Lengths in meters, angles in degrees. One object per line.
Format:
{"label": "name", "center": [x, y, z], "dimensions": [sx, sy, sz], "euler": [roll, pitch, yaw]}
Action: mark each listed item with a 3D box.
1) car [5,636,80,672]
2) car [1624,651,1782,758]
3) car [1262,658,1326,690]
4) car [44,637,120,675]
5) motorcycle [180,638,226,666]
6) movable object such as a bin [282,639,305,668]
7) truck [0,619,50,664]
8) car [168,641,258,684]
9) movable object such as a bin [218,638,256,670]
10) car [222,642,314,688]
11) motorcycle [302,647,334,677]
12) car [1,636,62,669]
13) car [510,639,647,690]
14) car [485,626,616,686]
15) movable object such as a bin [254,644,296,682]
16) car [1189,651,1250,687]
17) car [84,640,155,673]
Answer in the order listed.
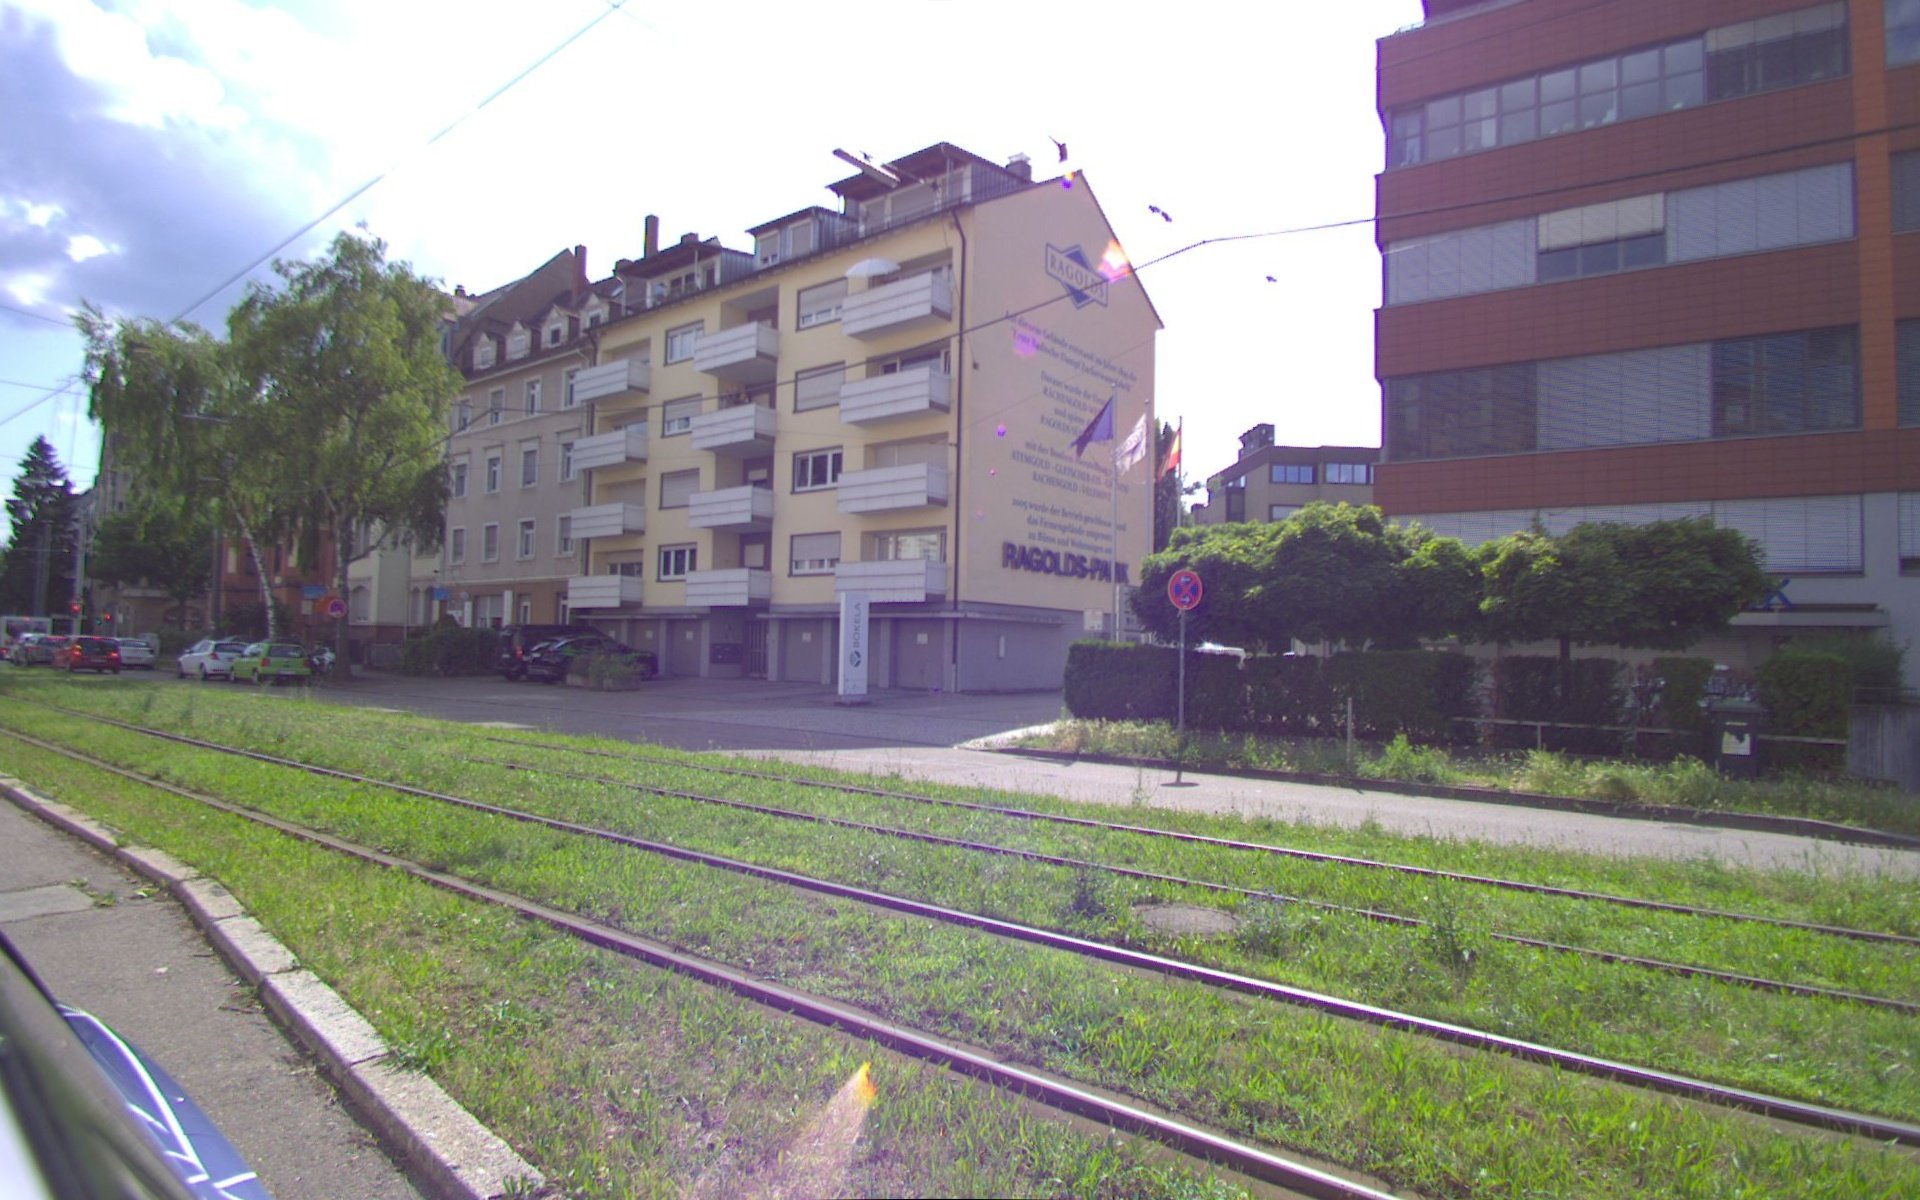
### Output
{"label": "car", "center": [-40.041, 2.336, 44.115], "dimensions": [4.508, 1.366, 1.737], "euler": [-1, -6, 40]}
{"label": "car", "center": [12.913, 1.745, 17.740], "dimensions": [1.995, 1.608, 3.952], "euler": [-1, -4, 35]}
{"label": "car", "center": [18.633, 4.102, 56.672], "dimensions": [1.743, 1.708, 4.007], "euler": [2, -4, -9]}
{"label": "car", "center": [-34.507, 2.203, 39.750], "dimensions": [3.688, 1.397, 1.563], "euler": [-1, -5, 39]}
{"label": "motorcycle", "center": [-34.660, 2.391, 46.335], "dimensions": [2.287, 1.252, 0.893], "euler": [-1, -4, 33]}
{"label": "movable object such as a bin", "center": [-31.835, 2.553, 48.351], "dimensions": [0.697, 1.372, 0.667], "euler": [-1, -4, 35]}
{"label": "truck", "center": [-51.494, 2.262, 55.088], "dimensions": [6.611, 2.231, 2.161], "euler": [-2, -5, 43]}
{"label": "car", "center": [-28.081, 2.334, 38.024], "dimensions": [4.221, 1.489, 1.628], "euler": [-1, -6, 39]}
{"label": "movable object such as a bin", "center": [-32.115, 2.385, 44.956], "dimensions": [1.519, 1.377, 0.942], "euler": [-2, 1, 38]}
{"label": "car", "center": [-23.819, 2.223, 34.804], "dimensions": [3.610, 1.443, 1.578], "euler": [-2, -5, 39]}
{"label": "motorcycle", "center": [-23.929, 2.296, 37.708], "dimensions": [1.630, 1.050, 0.494], "euler": [0, 0, 38]}
{"label": "car", "center": [-44.607, 2.517, 48.587], "dimensions": [4.133, 1.425, 1.736], "euler": [-1, -6, 43]}
{"label": "car", "center": [-12.973, 2.151, 34.598], "dimensions": [1.970, 1.614, 3.948], "euler": [-1, -2, 38]}
{"label": "car", "center": [-14.693, 1.954, 36.468], "dimensions": [1.936, 2.029, 3.945], "euler": [-2, -2, 41]}
{"label": "movable object such as a bin", "center": [-27.409, 2.507, 40.491], "dimensions": [1.519, 1.441, 0.942], "euler": [-2, -2, 38]}
{"label": "car", "center": [13.964, 3.733, 54.715], "dimensions": [1.743, 1.827, 4.007], "euler": [2, -4, -9]}
{"label": "car", "center": [-38.330, 2.570, 46.147], "dimensions": [3.991, 1.366, 1.737], "euler": [-1, -5, 40]}
